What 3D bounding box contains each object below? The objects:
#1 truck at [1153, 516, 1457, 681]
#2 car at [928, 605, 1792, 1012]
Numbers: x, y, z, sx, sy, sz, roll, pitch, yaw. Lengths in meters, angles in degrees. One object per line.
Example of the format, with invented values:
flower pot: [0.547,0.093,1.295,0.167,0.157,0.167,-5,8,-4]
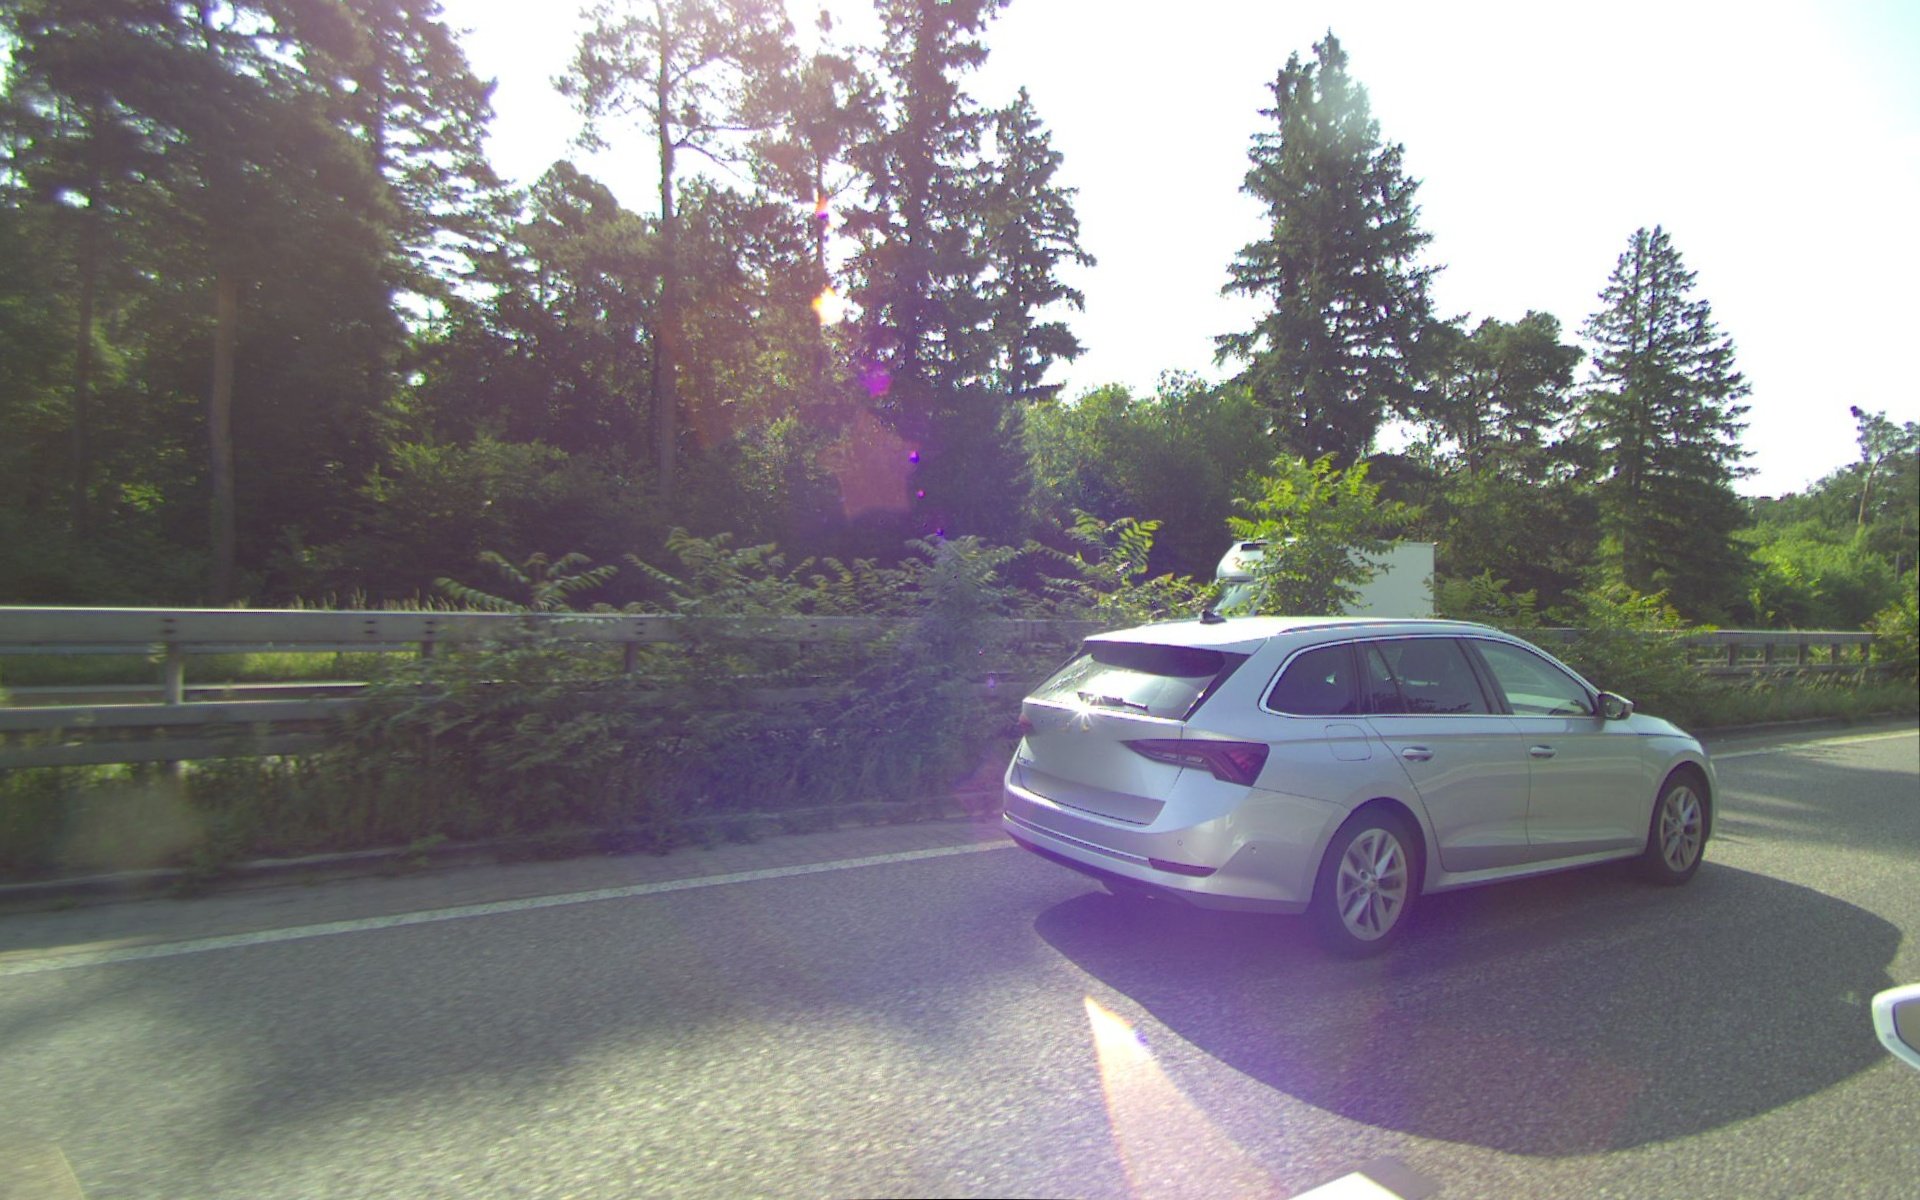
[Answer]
truck: [7.852,0.058,22.520,7.144,3.218,2.450,1,-2,-31]
car: [2.524,0.797,5.716,5.217,1.457,1.783,1,-1,-31]
